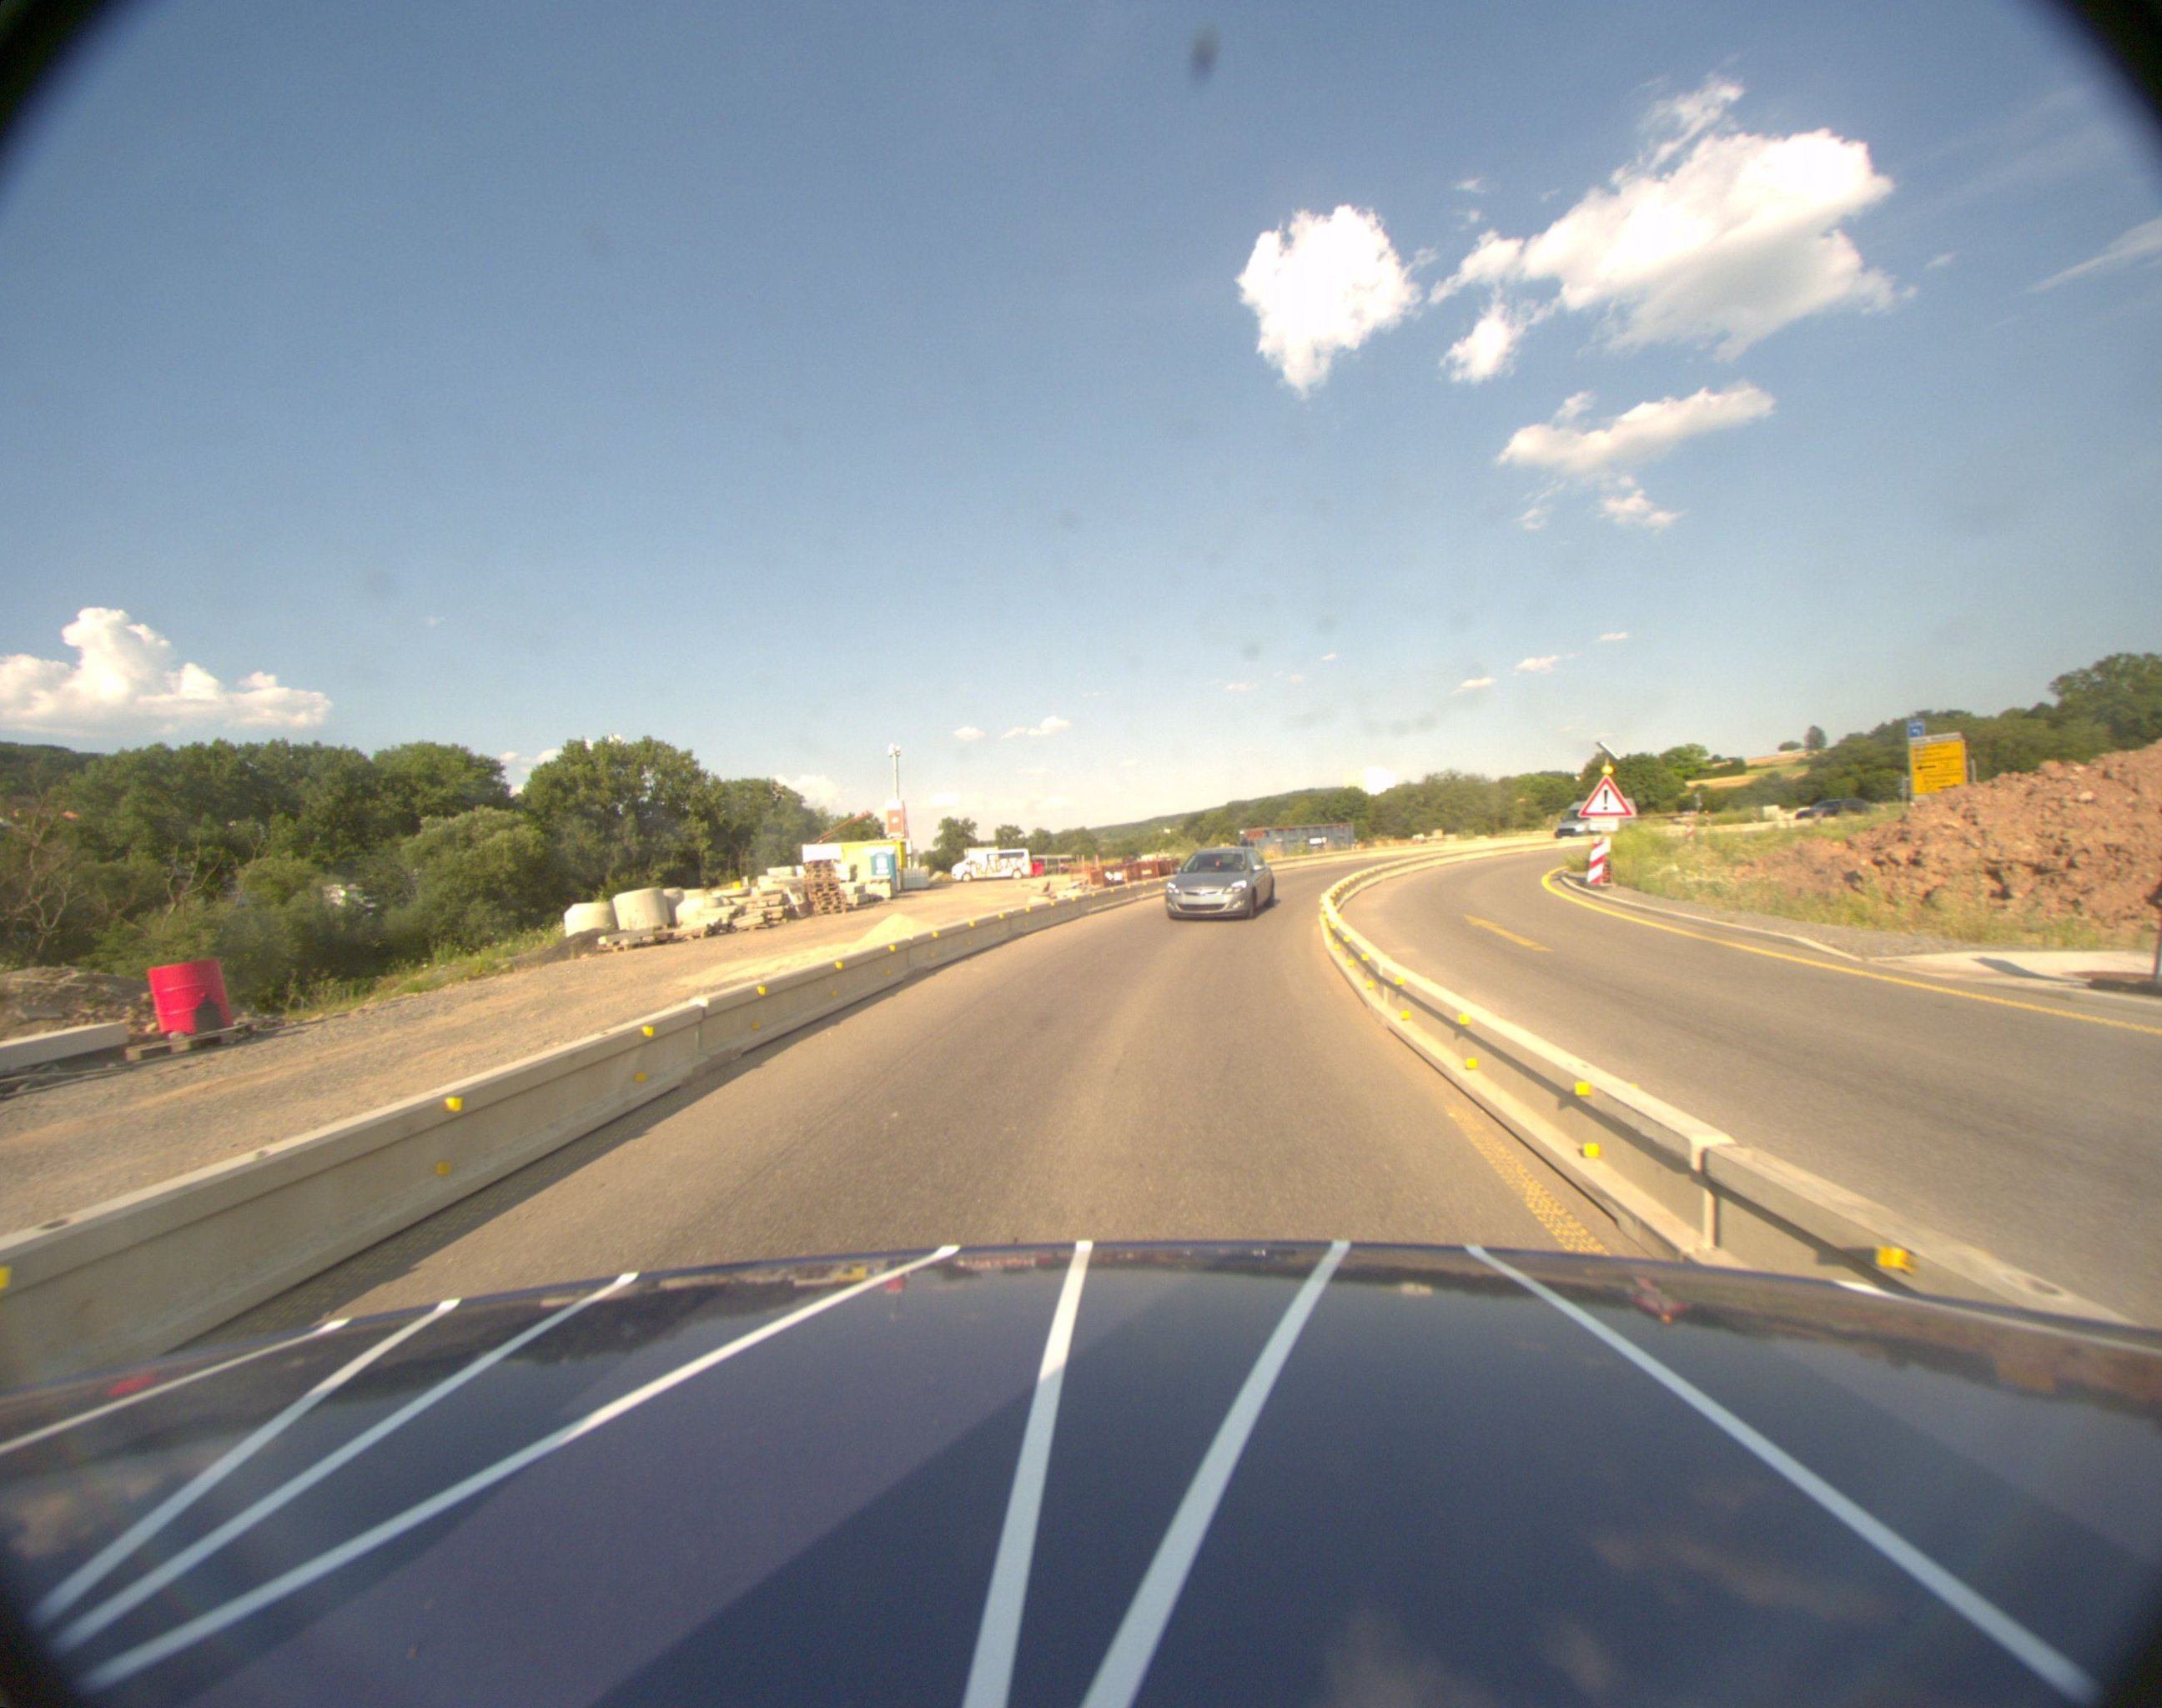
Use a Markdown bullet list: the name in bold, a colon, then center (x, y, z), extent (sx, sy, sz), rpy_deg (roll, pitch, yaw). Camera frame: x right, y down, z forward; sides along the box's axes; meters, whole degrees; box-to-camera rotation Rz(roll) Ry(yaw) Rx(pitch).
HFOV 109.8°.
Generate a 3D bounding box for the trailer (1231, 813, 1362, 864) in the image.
- **trailer**: center (12.615, -0.924, 44.242), extent (7.237, 2.400, 3.007), rpy_deg (-4, 0, -30)

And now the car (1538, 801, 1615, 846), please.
- **car**: center (31.638, -1.983, 48.443), extent (5.806, 2.487, 1.913), rpy_deg (-5, 2, -34)

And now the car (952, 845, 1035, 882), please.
- **car**: center (-5.945, 0.583, 51.468), extent (5.319, 2.067, 2.485), rpy_deg (-4, 1, -9)

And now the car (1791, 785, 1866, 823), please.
- **car**: center (53.864, -3.602, 54.759), extent (4.000, 2.390, 1.875), rpy_deg (-4, 1, -11)

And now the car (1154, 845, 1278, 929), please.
- **car**: center (3.101, 0.628, 16.701), extent (1.745, 1.476, 4.257), rpy_deg (-3, 1, 22)
